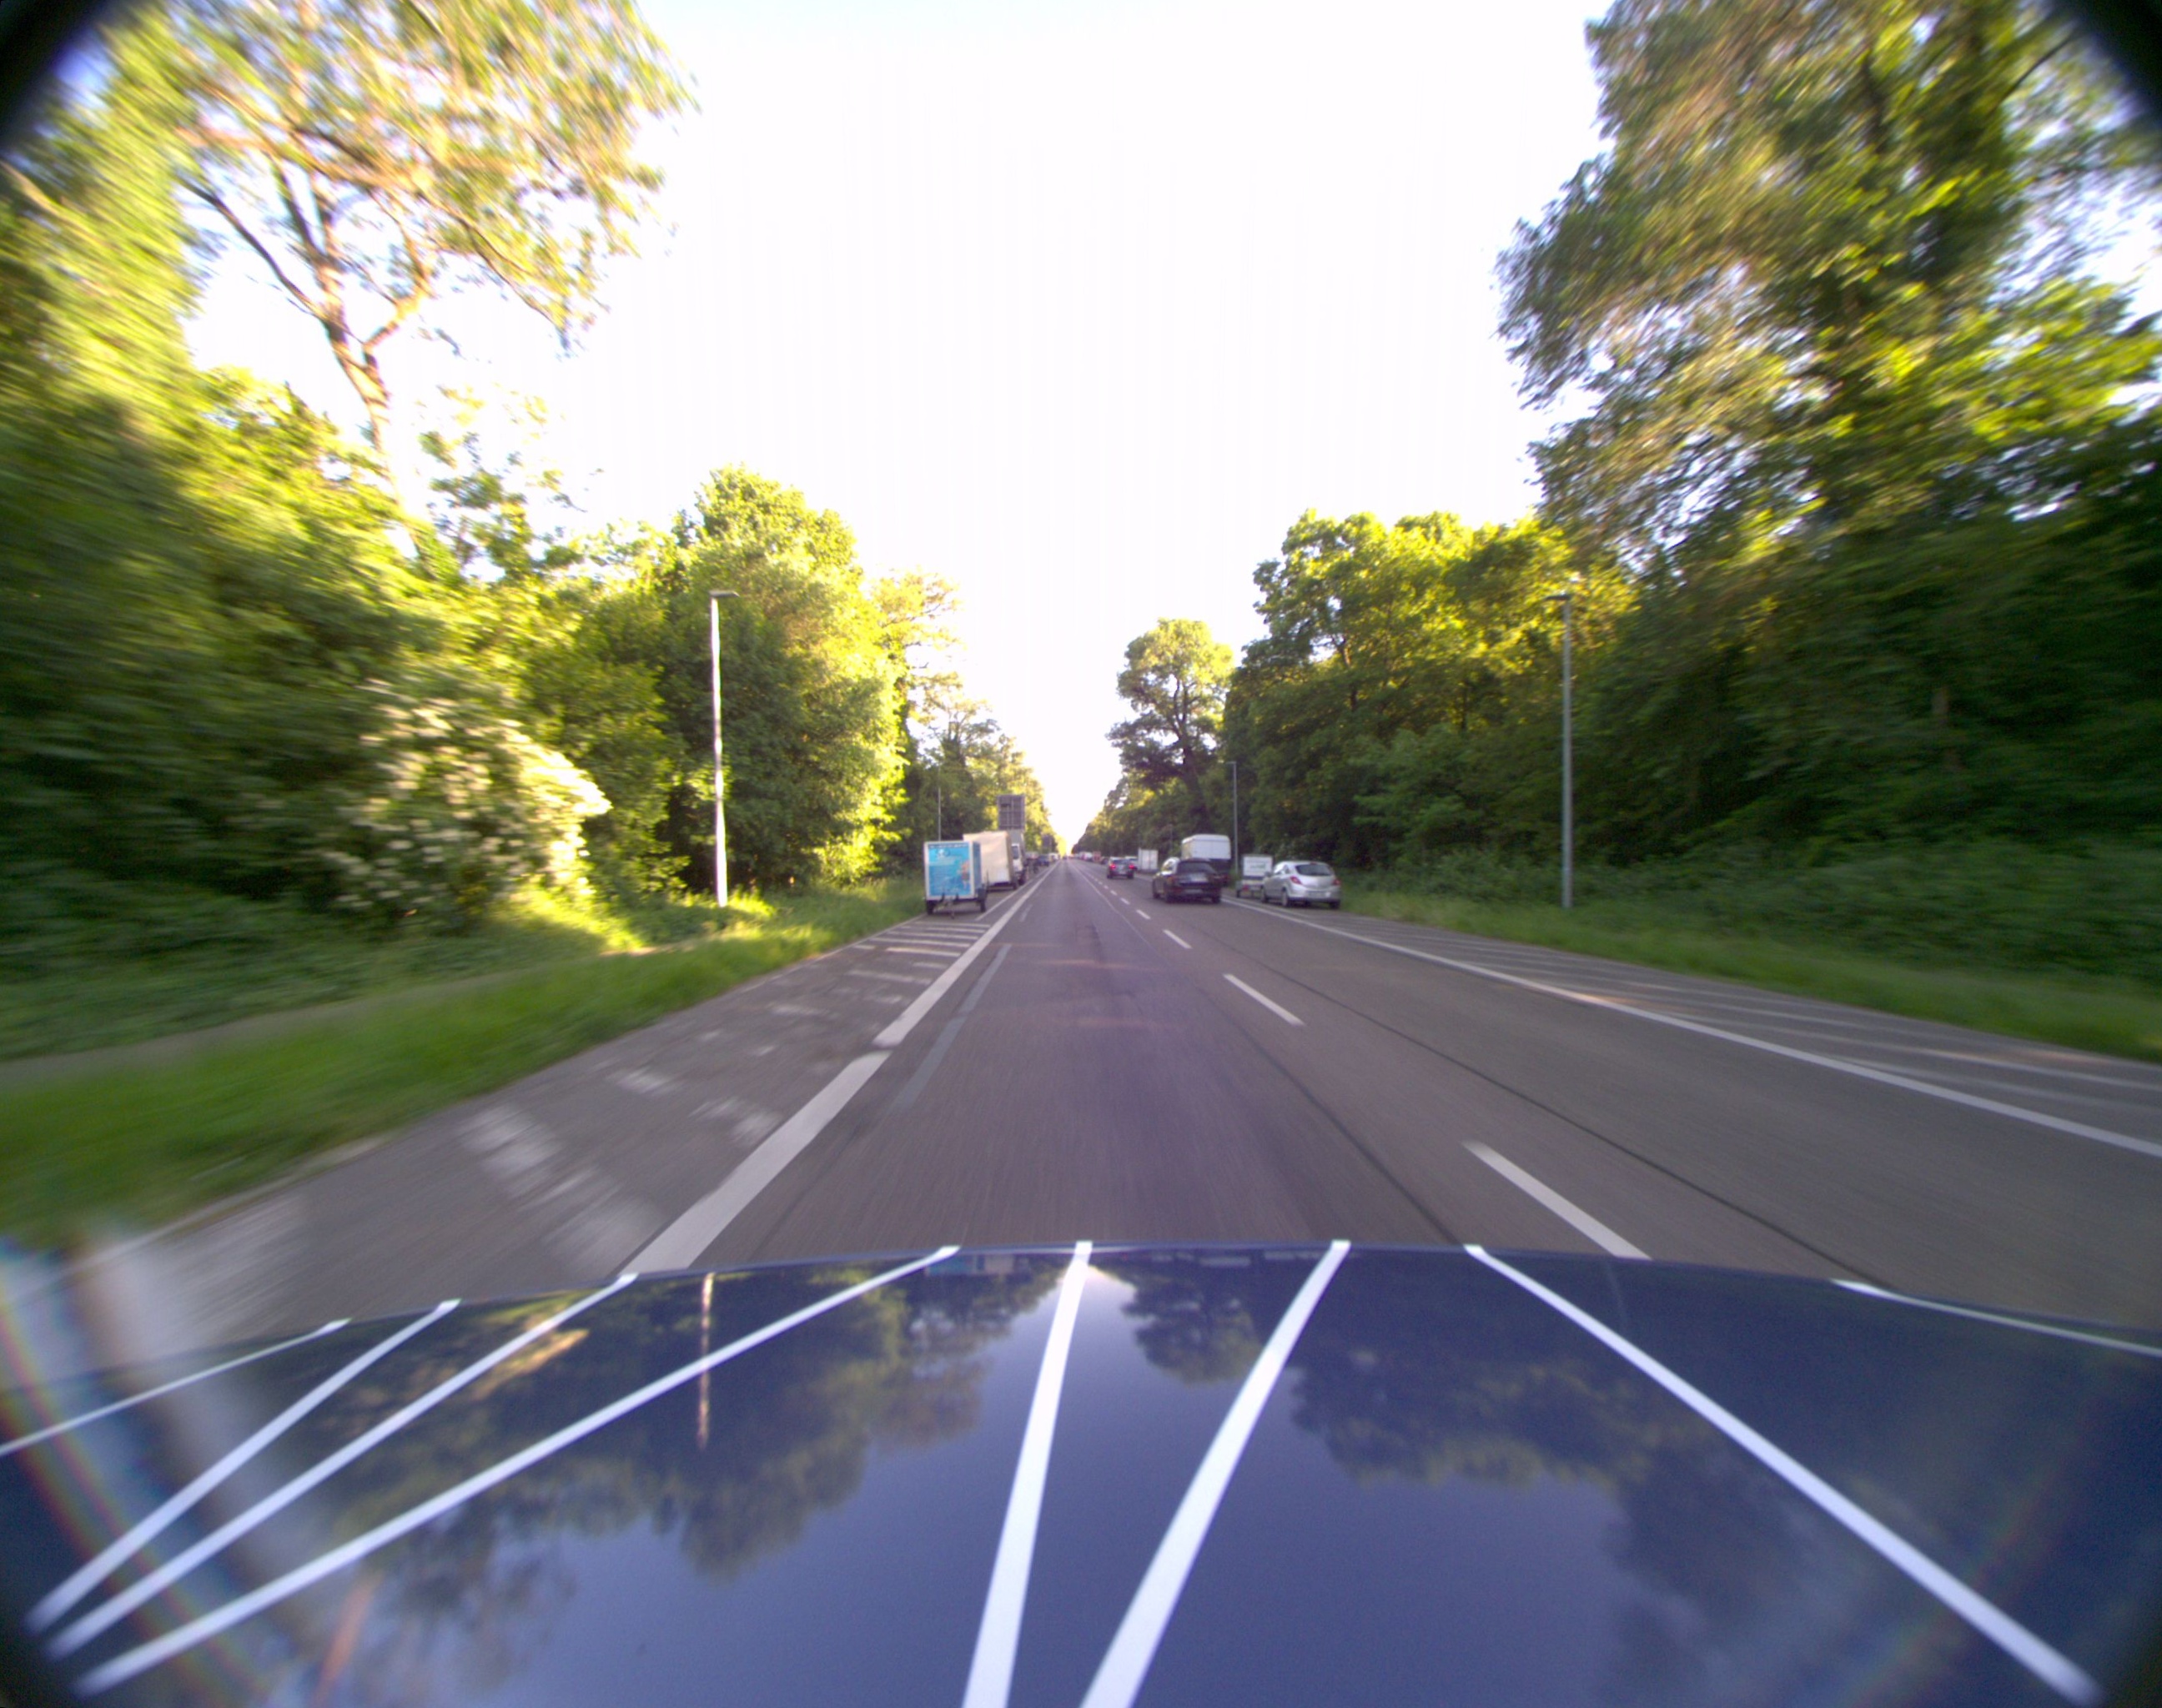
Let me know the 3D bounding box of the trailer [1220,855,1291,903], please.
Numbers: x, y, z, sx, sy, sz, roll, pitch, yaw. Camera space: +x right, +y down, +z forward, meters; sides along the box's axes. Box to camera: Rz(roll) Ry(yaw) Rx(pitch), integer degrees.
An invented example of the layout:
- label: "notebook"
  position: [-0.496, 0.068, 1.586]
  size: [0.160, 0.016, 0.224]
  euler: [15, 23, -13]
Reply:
- label: "trailer"
  position: [6.777, 0.929, 29.869]
  size: [1.806, 1.719, 3.647]
  euler: [1, 0, -2]

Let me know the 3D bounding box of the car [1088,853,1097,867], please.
- label: "car"
  position: [3.169, 1.664, 208.348]
  size: [2.279, 3.481, 5.499]
  euler: [-2, 0, 2]

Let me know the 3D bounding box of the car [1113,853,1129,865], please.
- label: "car"
  position: [5.305, 0.663, 102.204]
  size: [1.806, 1.496, 3.912]
  euler: [1, 0, -2]

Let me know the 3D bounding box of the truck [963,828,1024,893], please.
- label: "truck"
  position: [-4.215, 0.277, 37.643]
  size: [2.390, 2.855, 5.597]
  euler: [-3, 0, -2]

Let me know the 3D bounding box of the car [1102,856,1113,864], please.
- label: "car"
  position: [4.843, 1.134, 140.653]
  size: [1.806, 1.496, 3.912]
  euler: [1, 0, -2]

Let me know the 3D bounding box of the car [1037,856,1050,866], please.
- label: "car"
  position: [-5.821, 1.118, 118.674]
  size: [1.898, 1.455, 3.912]
  euler: [1, 0, -2]

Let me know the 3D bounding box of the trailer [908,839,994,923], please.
- label: "trailer"
  position: [-3.677, 0.702, 22.210]
  size: [1.869, 2.165, 4.128]
  euler: [-2, 0, -2]

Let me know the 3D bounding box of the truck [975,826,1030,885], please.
- label: "truck"
  position: [-4.585, 0.059, 45.524]
  size: [2.706, 3.218, 7.127]
  euler: [1, 0, -2]

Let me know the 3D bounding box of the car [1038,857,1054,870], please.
- label: "car"
  position: [-4.139, 1.121, 90.011]
  size: [1.806, 1.455, 3.912]
  euler: [1, 0, -2]

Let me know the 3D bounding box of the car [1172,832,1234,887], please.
- label: "car"
  position: [6.644, 0.277, 42.004]
  size: [2.460, 2.830, 4.798]
  euler: [1, 0, -2]

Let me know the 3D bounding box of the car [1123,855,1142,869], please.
- label: "car"
  position: [5.805, 0.933, 86.354]
  size: [1.806, 1.496, 3.912]
  euler: [1, 0, -2]

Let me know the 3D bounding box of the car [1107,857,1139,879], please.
- label: "car"
  position: [2.871, 0.924, 52.677]
  size: [1.806, 1.455, 3.912]
  euler: [1, 0, -2]

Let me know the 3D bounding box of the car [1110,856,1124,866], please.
- label: "car"
  position: [5.423, 1.037, 114.494]
  size: [1.806, 1.496, 3.912]
  euler: [1, 0, -2]

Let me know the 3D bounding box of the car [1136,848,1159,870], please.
- label: "car"
  position: [6.396, 0.495, 73.804]
  size: [1.692, 2.089, 4.631]
  euler: [1, 0, -2]

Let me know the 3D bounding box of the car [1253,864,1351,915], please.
- label: "car"
  position: [7.073, 1.081, 24.766]
  size: [1.915, 1.455, 4.011]
  euler: [1, 0, -2]

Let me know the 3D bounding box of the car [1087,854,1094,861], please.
- label: "car"
  position: [2.871, 1.030, 227.216]
  size: [2.095, 1.924, 4.000]
  euler: [-1, 0, 0]

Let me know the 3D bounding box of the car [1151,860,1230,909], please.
- label: "car"
  position: [3.605, 0.979, 25.799]
  size: [1.915, 1.455, 4.357]
  euler: [1, 0, -2]

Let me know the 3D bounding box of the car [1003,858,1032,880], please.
- label: "car"
  position: [-4.336, 1.016, 52.350]
  size: [1.806, 1.455, 3.912]
  euler: [1, 0, -2]
